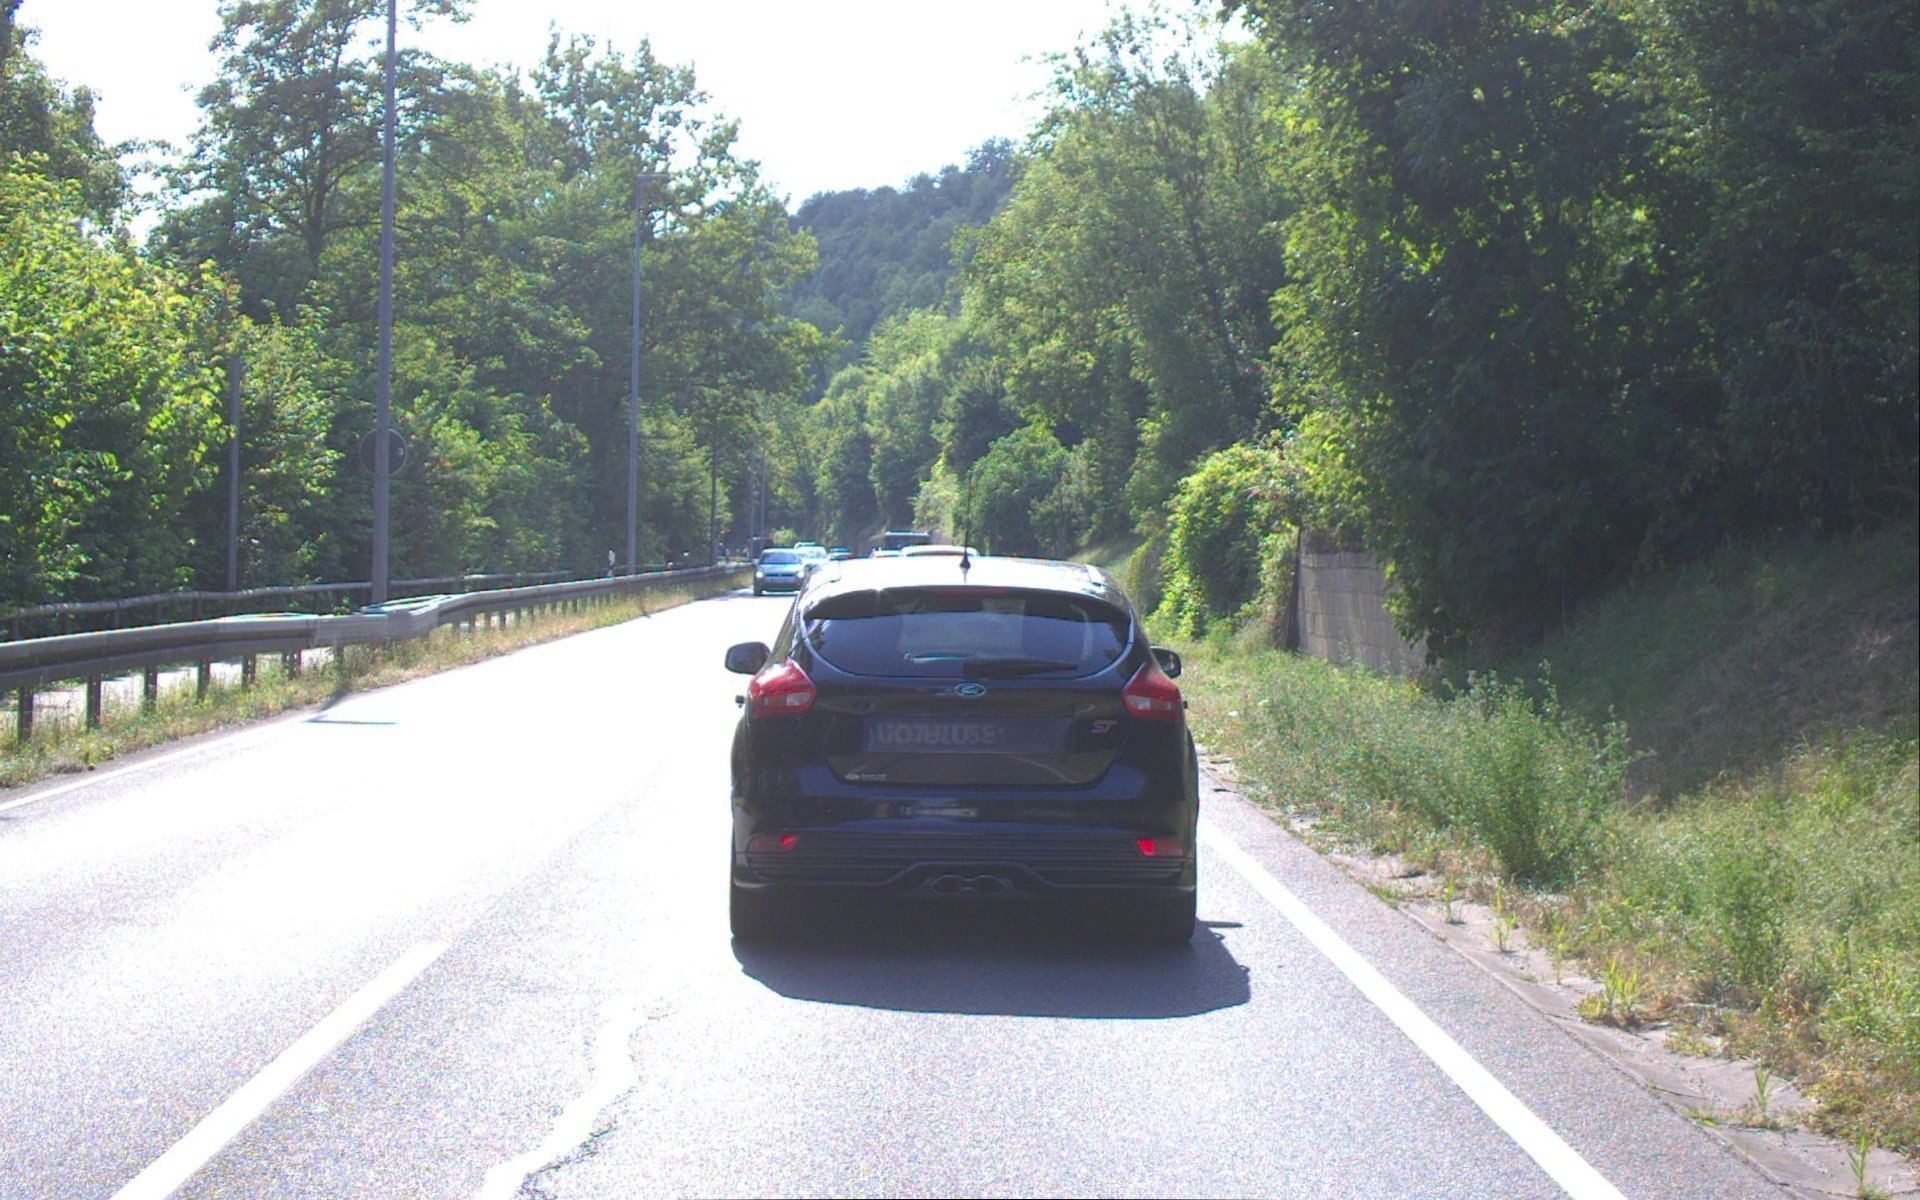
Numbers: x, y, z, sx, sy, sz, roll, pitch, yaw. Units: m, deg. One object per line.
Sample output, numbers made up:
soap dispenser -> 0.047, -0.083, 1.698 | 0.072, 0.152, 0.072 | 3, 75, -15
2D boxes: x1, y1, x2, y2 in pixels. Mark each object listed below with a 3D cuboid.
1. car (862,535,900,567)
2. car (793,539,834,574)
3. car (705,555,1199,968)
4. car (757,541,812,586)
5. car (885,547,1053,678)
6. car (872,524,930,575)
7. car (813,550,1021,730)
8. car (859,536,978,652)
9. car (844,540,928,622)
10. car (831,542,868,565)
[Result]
car -> -3.911, -2.439, 170.514 | 1.819, 1.514, 4.000 | 0, 1, 0
car -> -6.285, -1.884, 147.969 | 1.681, 1.458, 4.198 | 1, 1, -1
car -> -0.045, 0.549, 14.202 | 1.739, 1.451, 4.000 | 1, 1, 0
car -> -5.540, -1.164, 108.763 | 1.623, 1.372, 4.048 | 0, 1, -1
car -> 0.079, 0.106, 38.969 | 1.804, 1.387, 4.000 | 0, 1, 0
car -> -2.126, -1.822, 122.635 | 1.863, 1.774, 4.001 | 0, 1, -4
car -> -0.316, 0.291, 29.582 | 1.661, 1.413, 4.000 | 0, 1, 1
car -> -0.593, -0.115, 49.491 | 1.631, 1.590, 4.000 | 0, 1, 0
car -> -1.481, -0.405, 69.747 | 1.631, 1.590, 4.000 | 0, 1, 0
car -> -7.279, -3.054, 225.900 | 1.993, 1.514, 4.001 | 0, 1, -7
